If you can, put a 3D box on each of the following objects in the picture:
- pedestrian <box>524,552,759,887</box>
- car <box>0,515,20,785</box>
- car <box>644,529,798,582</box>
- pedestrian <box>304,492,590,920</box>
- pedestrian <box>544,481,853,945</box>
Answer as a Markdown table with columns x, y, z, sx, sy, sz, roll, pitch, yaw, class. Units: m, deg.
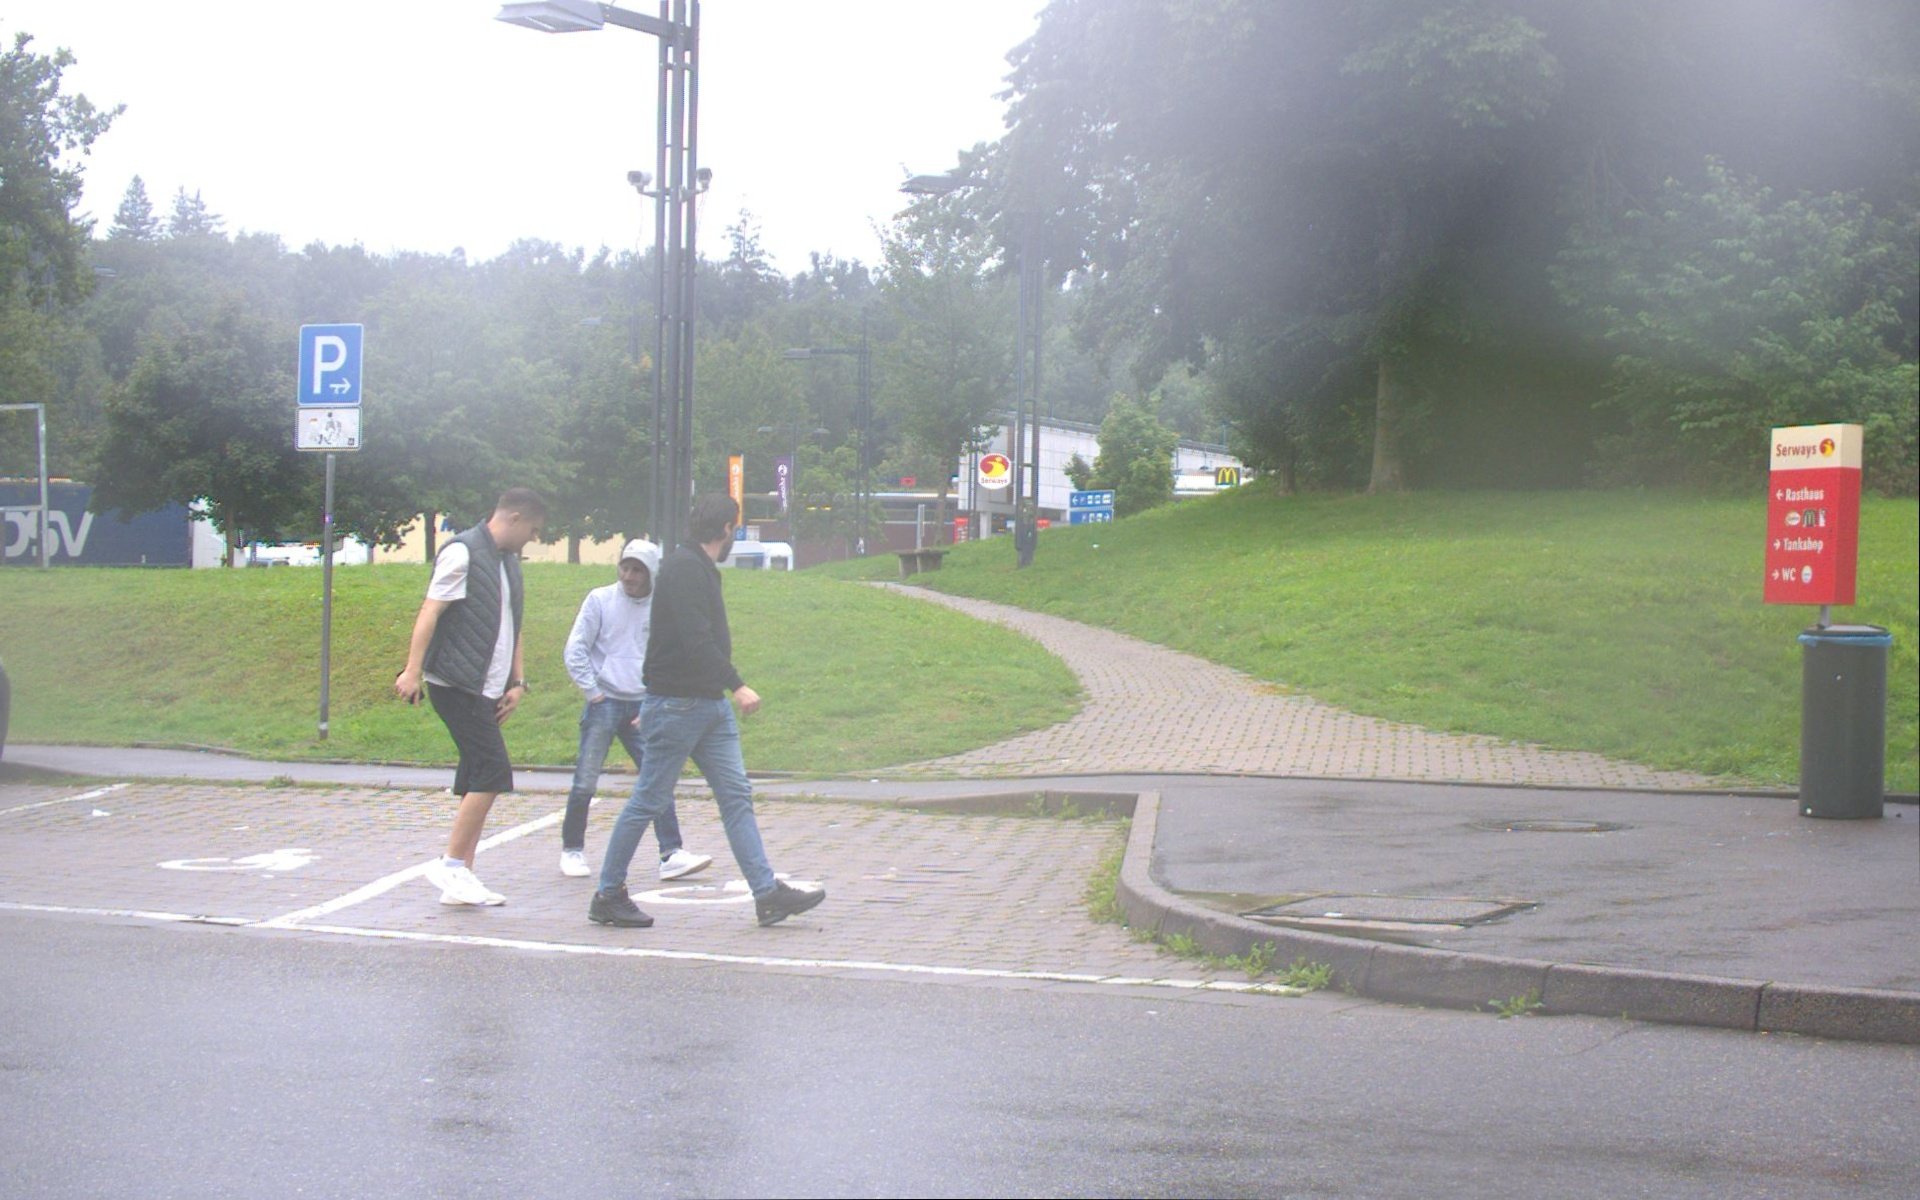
| x | y | z | sx | sy | sz | roll | pitch | yaw | class |
| --- | --- | --- | --- | --- | --- | --- | --- | --- | --- |
| -1.518 | 0.550 | 16.414 | 0.890 | 1.544 | 0.659 | 0 | 1 | 29 | pedestrian |
| -7.769 | 0.374 | 21.465 | 1.885 | 1.821 | 4.411 | 0 | 1 | 11 | car |
| -9.296 | -1.737 | 133.677 | 5.429 | 2.007 | 2.453 | 1 | 1 | 20 | car |
| -2.284 | 0.446 | 15.339 | 0.974 | 1.842 | 0.772 | 0 | 1 | 28 | pedestrian |
| -1.085 | 0.441 | 14.340 | 1.000 | 1.858 | 0.798 | 0 | 1 | 28 | pedestrian |
